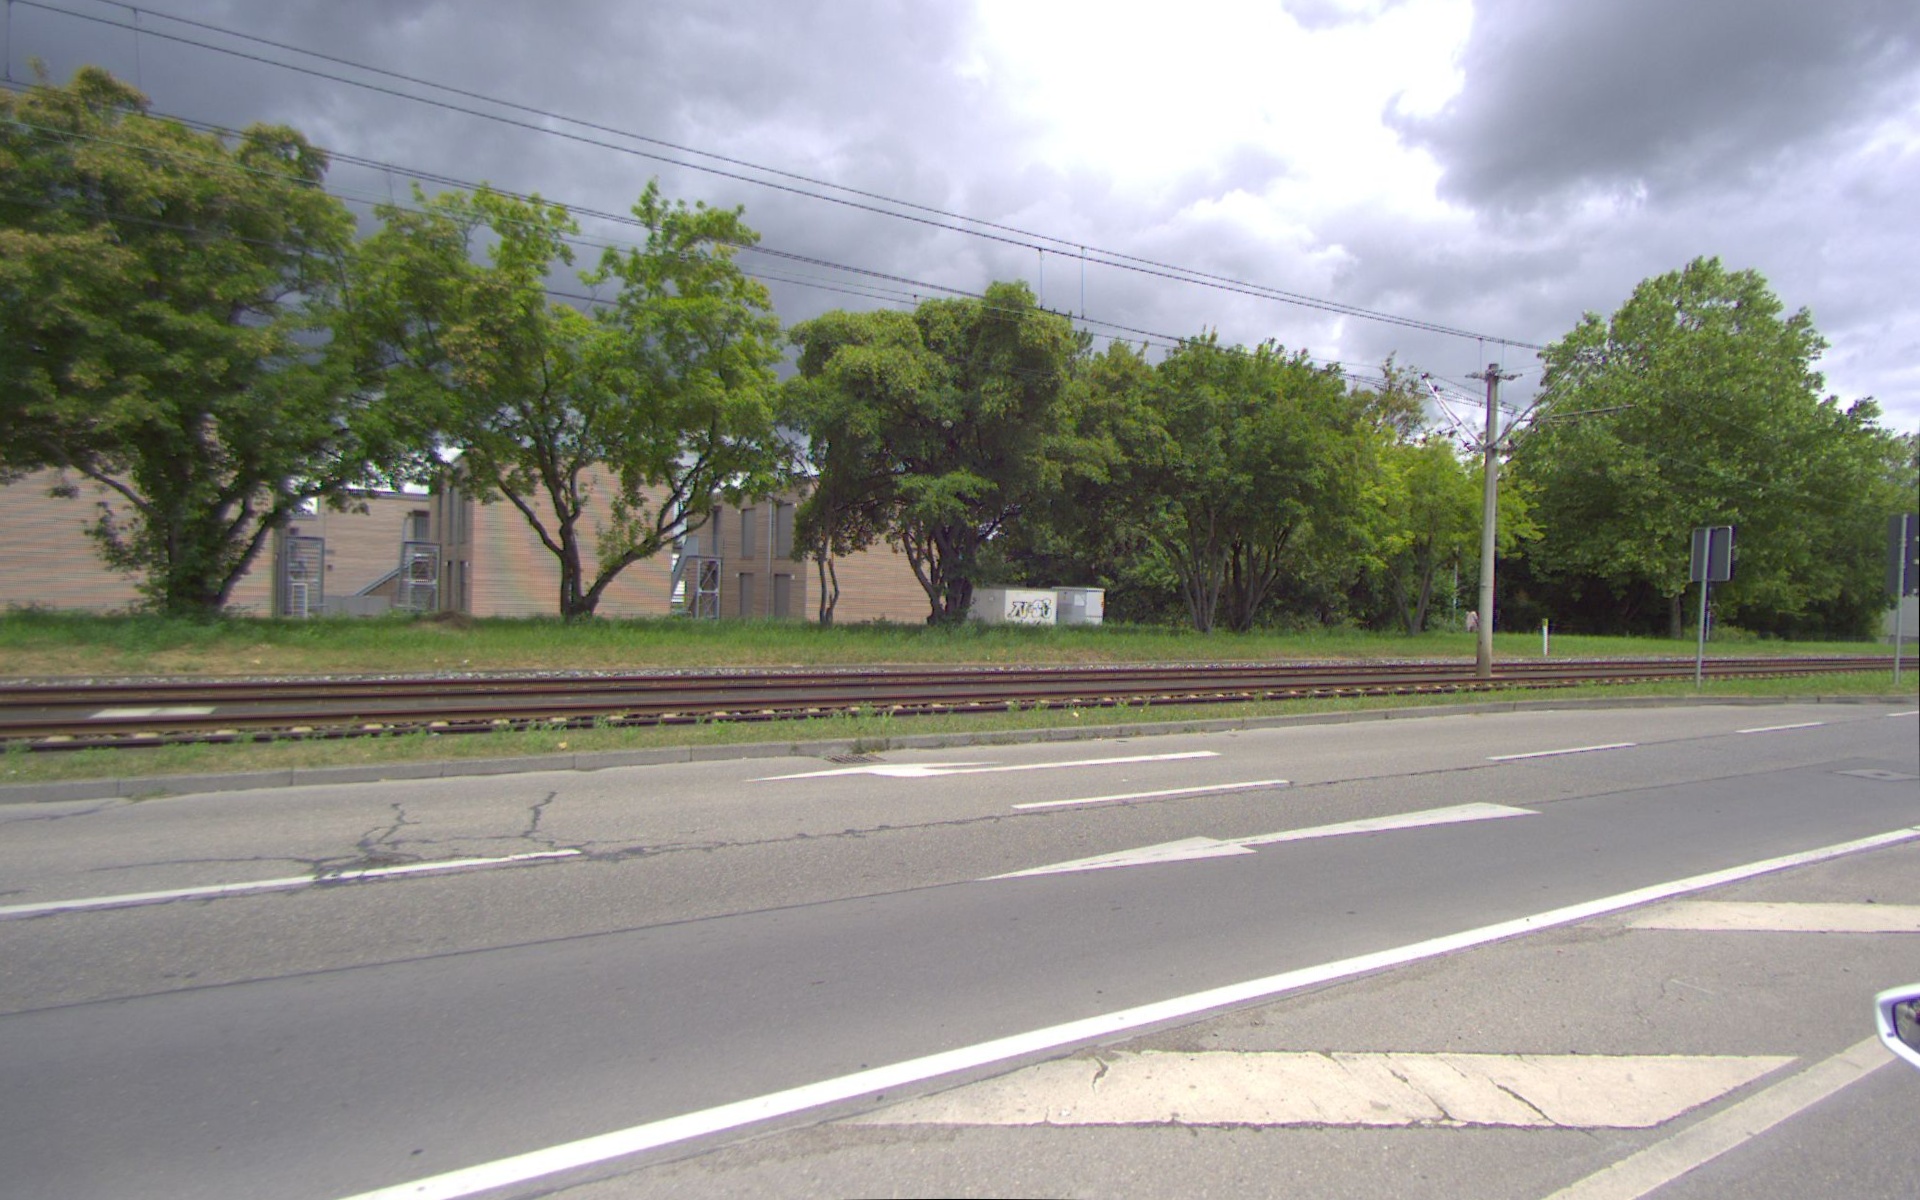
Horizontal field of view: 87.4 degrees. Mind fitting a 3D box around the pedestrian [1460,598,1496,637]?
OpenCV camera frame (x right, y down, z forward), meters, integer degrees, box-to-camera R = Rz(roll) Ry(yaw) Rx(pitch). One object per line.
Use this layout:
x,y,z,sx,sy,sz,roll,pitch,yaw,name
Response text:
26.591,0.891,51.589,1.348,1.959,1.029,2,1,-31,pedestrian
